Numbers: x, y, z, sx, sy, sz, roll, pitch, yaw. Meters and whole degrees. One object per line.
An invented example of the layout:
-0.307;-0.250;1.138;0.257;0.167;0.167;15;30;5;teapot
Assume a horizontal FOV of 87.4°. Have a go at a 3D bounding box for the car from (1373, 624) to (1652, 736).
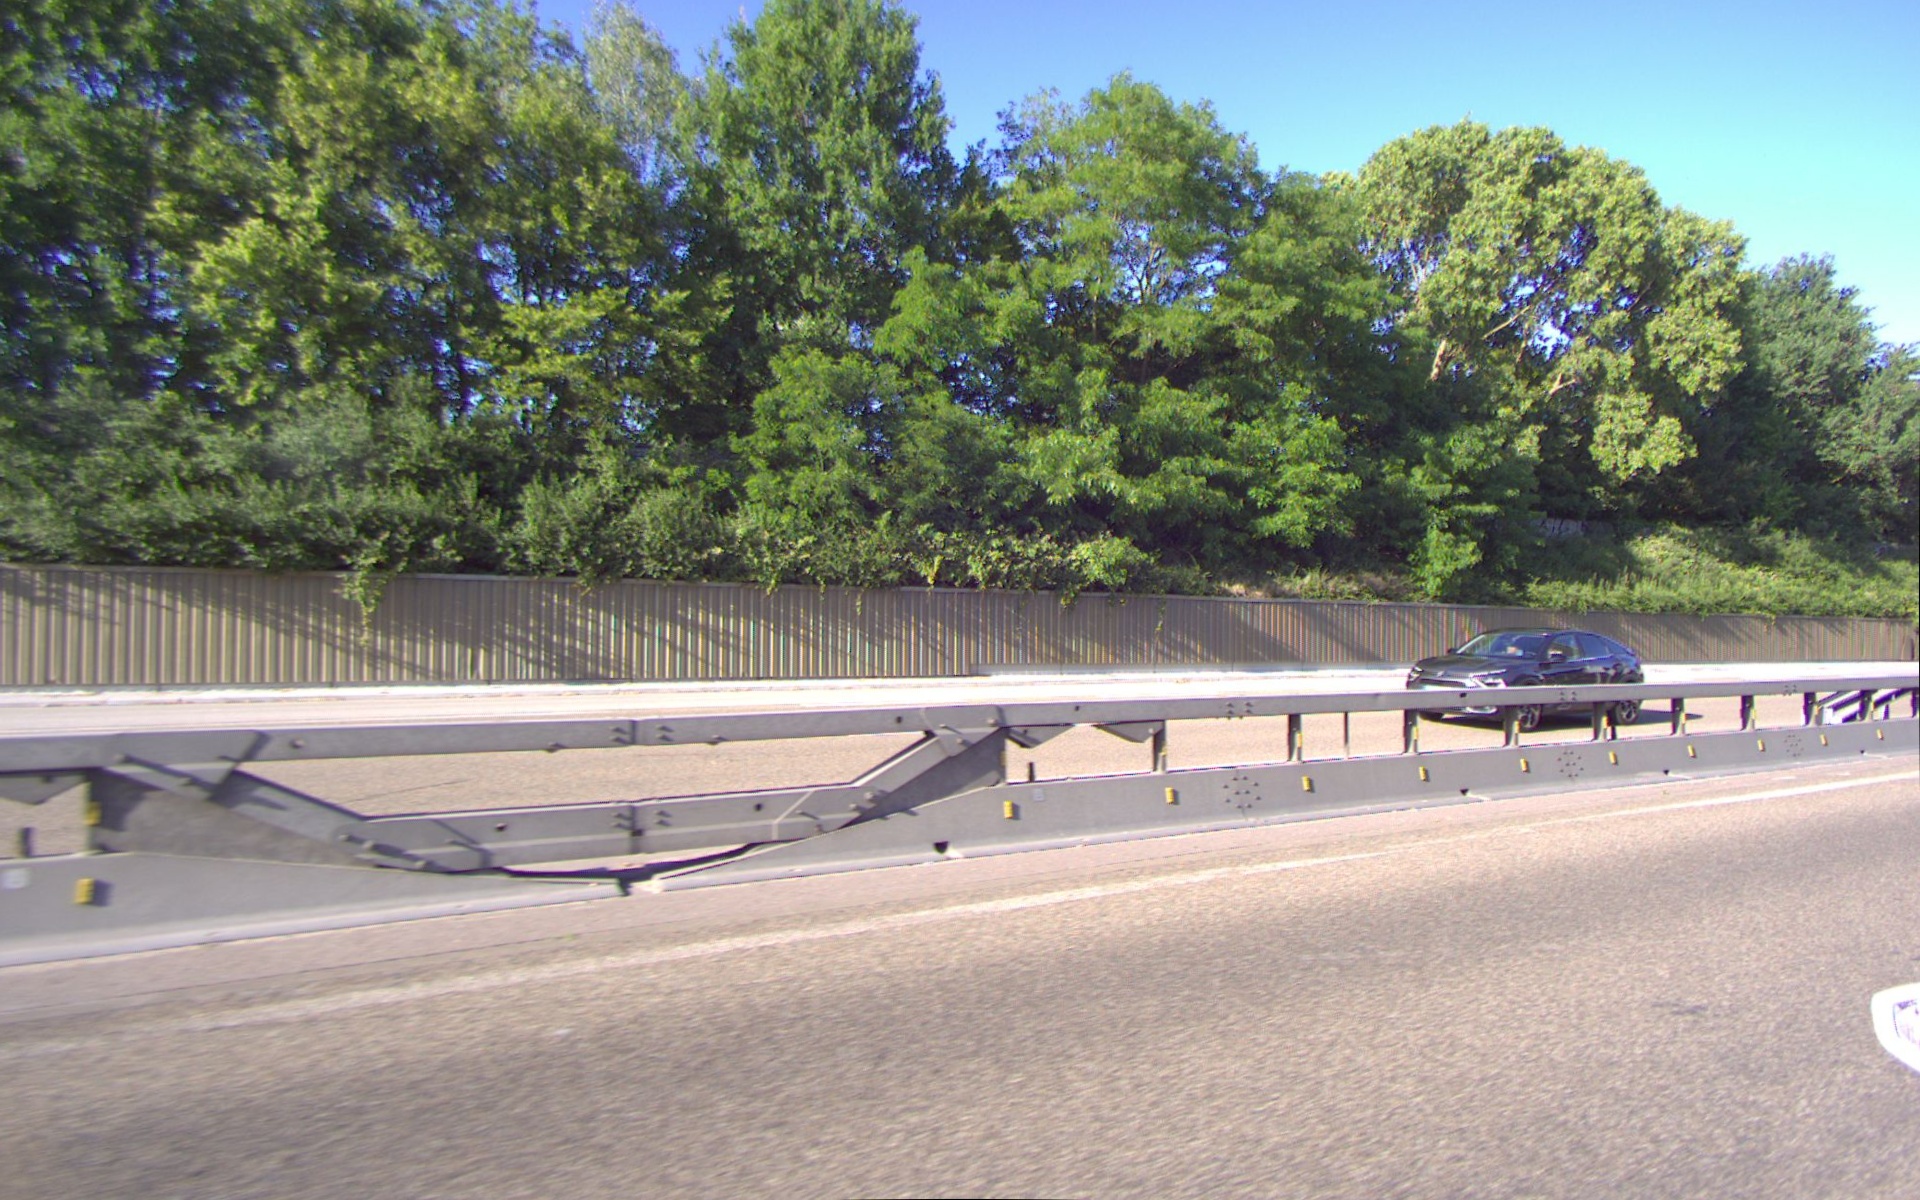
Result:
8.861;1.181;16.081;4.146;1.506;1.986;0;0;-28;car
